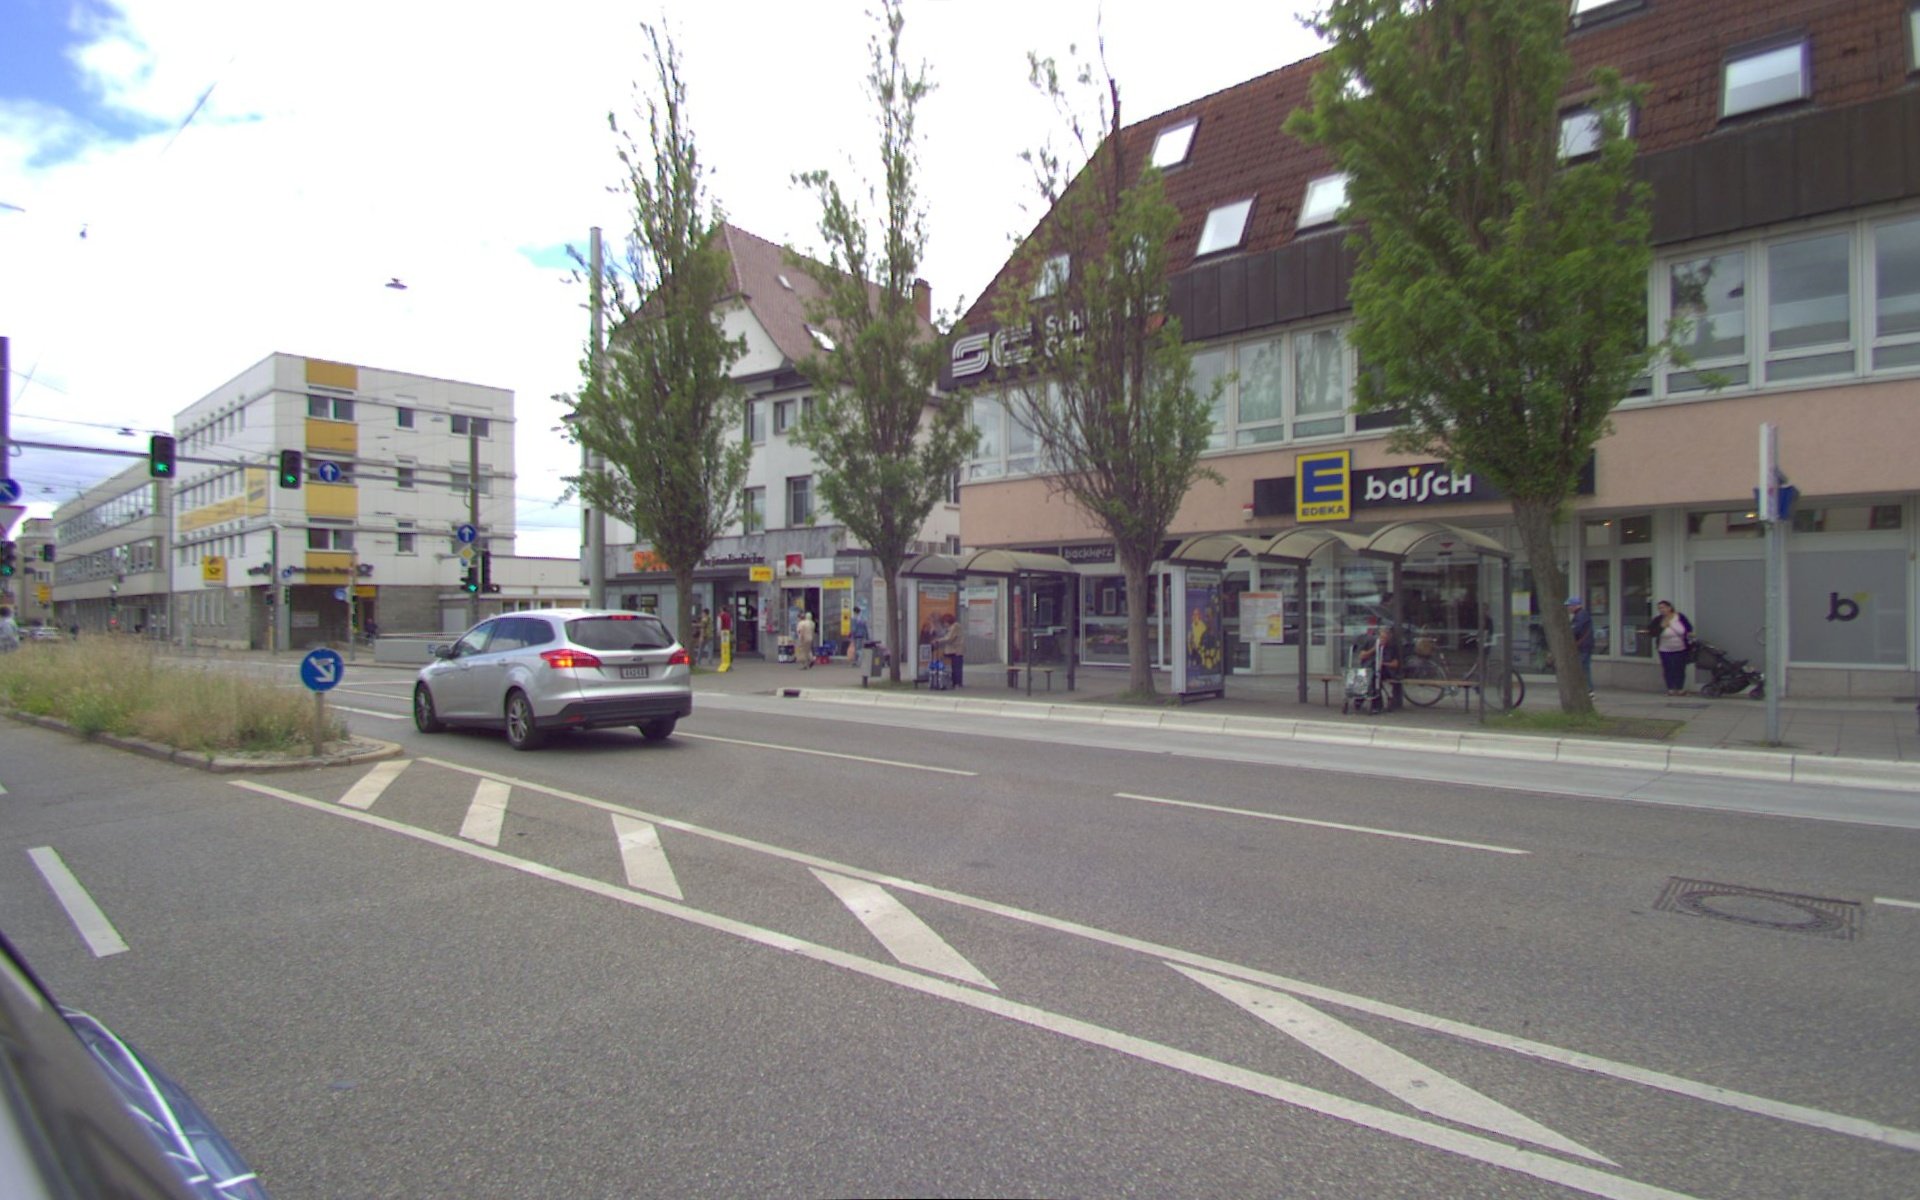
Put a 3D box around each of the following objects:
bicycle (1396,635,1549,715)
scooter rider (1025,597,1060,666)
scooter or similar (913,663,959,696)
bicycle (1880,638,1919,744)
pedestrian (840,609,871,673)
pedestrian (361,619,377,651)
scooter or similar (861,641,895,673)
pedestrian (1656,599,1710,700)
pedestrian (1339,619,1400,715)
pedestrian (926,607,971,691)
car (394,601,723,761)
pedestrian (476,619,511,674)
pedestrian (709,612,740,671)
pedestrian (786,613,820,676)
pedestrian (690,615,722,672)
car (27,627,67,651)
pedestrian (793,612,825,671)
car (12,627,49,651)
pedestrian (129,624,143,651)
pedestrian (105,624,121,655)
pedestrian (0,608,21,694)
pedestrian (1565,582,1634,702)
[{"bbox_3d":[7.520,1.074,14.915,1.929,1.098,0.528,-2,-1,40],"label":"bicycle"},{"bbox_3d":[2.116,0.805,26.010,0.587,1.725,0.607,-2,1,39],"label":"scooter rider"},{"bbox_3d":[-0.477,1.561,19.960,0.702,0.606,0.586,-2,-2,42],"label":"scooter or similar"},{"bbox_3d":[10.614,0.985,10.818,0.646,1.098,2.005,-1,-1,28],"label":"bicycle"},{"bbox_3d":[-2.850,1.110,27.575,0.614,1.725,0.580,-2,-2,40],"label":"pedestrian"},{"bbox_3d":[-31.333,1.855,53.631,0.615,1.647,0.580,-2,-2,42],"label":"pedestrian"},{"bbox_3d":[-2.220,1.531,27.356,0.702,0.855,0.586,-2,-2,42],"label":"scooter or similar"},{"bbox_3d":[11.552,0.782,16.171,0.588,1.559,0.704,-3,-2,41],"label":"pedestrian"},{"bbox_3d":[6.111,0.985,15.101,0.588,1.374,0.703,-3,-2,44],"label":"pedestrian"},{"bbox_3d":[-0.230,0.994,20.524,0.709,1.665,0.583,-2,-1,24],"label":"pedestrian"},{"bbox_3d":[-4.791,0.840,11.771,4.343,1.517,1.854,-2,-3,43],"label":"car"},{"bbox_3d":[-14.569,1.455,31.585,0.613,1.646,0.694,-2,1,31],"label":"pedestrian"},{"bbox_3d":[-7.165,1.264,30.829,0.614,1.725,0.580,-2,1,40],"label":"pedestrian"},{"bbox_3d":[-4.217,1.198,27.200,0.614,1.646,0.580,-2,1,40],"label":"pedestrian"},{"bbox_3d":[-7.573,1.289,30.185,0.614,1.646,0.580,-2,1,40],"label":"pedestrian"},{"bbox_3d":[-80.043,3.421,88.711,4.483,2.029,1.973,-2,-1,40],"label":"car"},{"bbox_3d":[-4.390,1.199,29.362,0.614,1.646,0.580,-2,1,40],"label":"pedestrian"},{"bbox_3d":[-84.953,3.561,92.499,4.483,2.029,1.973,-2,-1,40],"label":"car"},{"bbox_3d":[-55.546,2.537,68.210,0.526,1.816,0.580,-2,1,42],"label":"pedestrian"},{"bbox_3d":[-50.766,2.381,60.651,0.526,1.816,0.580,-2,1,42],"label":"pedestrian"},{"bbox_3d":[-18.540,0.978,19.516,0.662,1.647,0.498,-2,-2,36],"label":"pedestrian"},{"bbox_3d":[9.891,0.638,15.658,0.755,1.777,0.718,-2,1,40],"label":"pedestrian"}]
